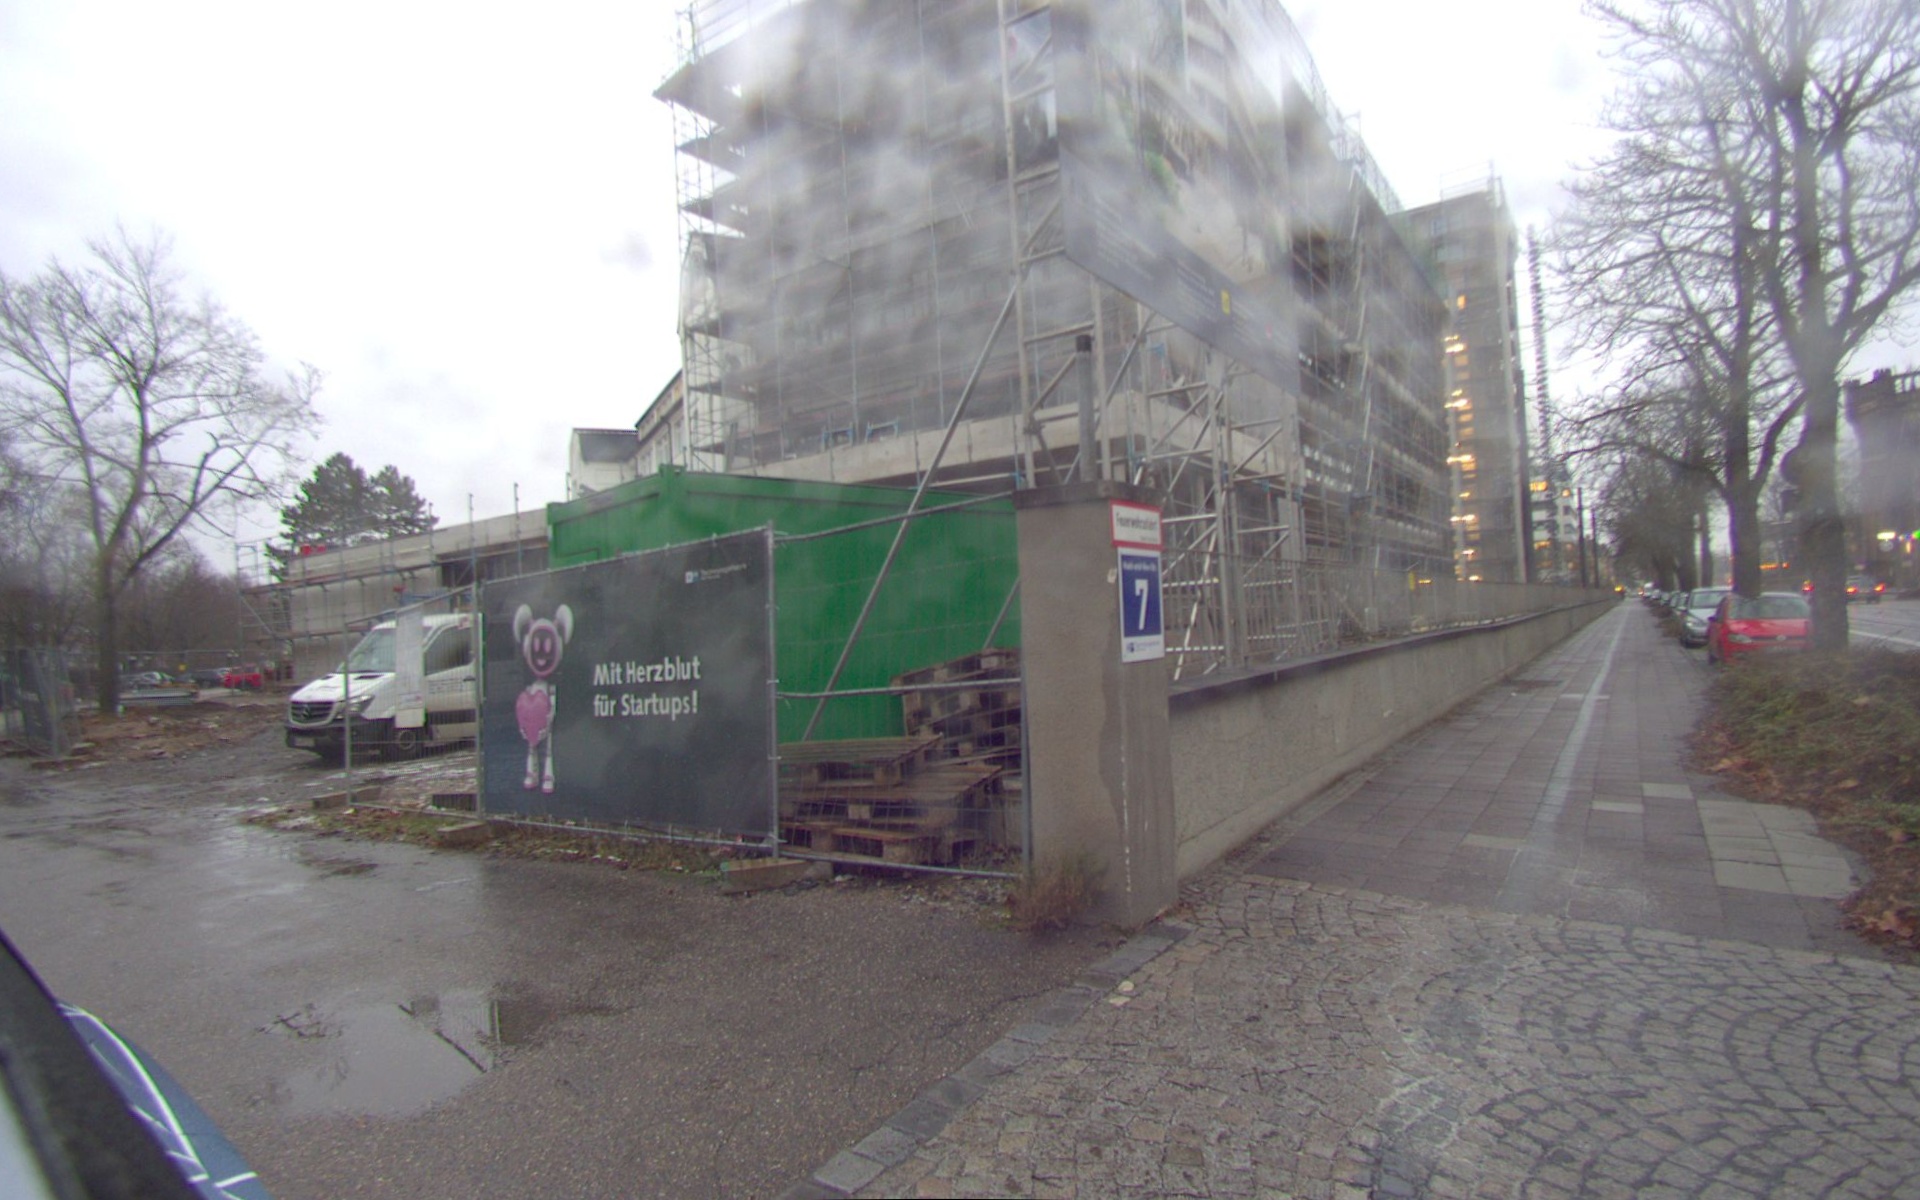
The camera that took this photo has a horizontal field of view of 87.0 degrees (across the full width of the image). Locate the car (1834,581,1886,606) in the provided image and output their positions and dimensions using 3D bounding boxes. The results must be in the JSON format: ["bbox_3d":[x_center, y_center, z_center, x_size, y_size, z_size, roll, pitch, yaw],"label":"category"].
[{"bbox_3d":[54.572,-0.374,61.408,1.762,1.422,3.953,-4,-2,34],"label":"car"}]

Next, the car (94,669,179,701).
[{"bbox_3d":[-53.485,5.478,65.794,3.931,1.810,1.808,-2,-2,-25],"label":"car"}]

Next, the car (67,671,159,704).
[{"bbox_3d":[-51.816,5.337,61.975,3.931,1.674,2.006,-2,-2,-25],"label":"car"}]

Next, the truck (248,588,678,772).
[{"bbox_3d":[-8.381,1.171,18.203,2.121,2.607,7.017,-4,-1,27],"label":"truck"}]

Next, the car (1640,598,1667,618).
[{"bbox_3d":[59.642,0.656,87.006,1.751,1.596,3.691,-4,-2,36],"label":"car"}]

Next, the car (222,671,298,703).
[{"bbox_3d":[-38.591,4.795,55.876,3.253,1.535,1.709,-1,-2,-30],"label":"car"}]

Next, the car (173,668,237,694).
[{"bbox_3d":[-61.784,6.600,82.866,3.931,1.810,1.808,-2,-2,-25],"label":"car"}]

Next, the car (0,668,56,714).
[{"bbox_3d":[-44.849,4.279,46.925,3.931,2.007,2.006,-2,-2,-25],"label":"car"}]

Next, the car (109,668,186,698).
[{"bbox_3d":[-57.903,5.894,72.200,3.931,1.810,1.808,-2,-2,-25],"label":"car"}]

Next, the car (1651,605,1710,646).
[{"bbox_3d":[30.532,1.061,42.893,1.864,1.606,3.951,-4,-2,36],"label":"car"}]

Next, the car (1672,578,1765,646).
[{"bbox_3d":[19.852,0.322,26.593,1.751,1.596,3.691,-4,-2,36],"label":"car"}]

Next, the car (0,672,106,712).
[{"bbox_3d":[-47.810,4.797,53.343,3.931,1.810,1.808,-2,-2,-25],"label":"car"}]

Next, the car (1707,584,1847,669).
[{"bbox_3d":[15.210,0.483,19.017,1.751,1.398,3.691,-4,-2,36],"label":"car"}]
